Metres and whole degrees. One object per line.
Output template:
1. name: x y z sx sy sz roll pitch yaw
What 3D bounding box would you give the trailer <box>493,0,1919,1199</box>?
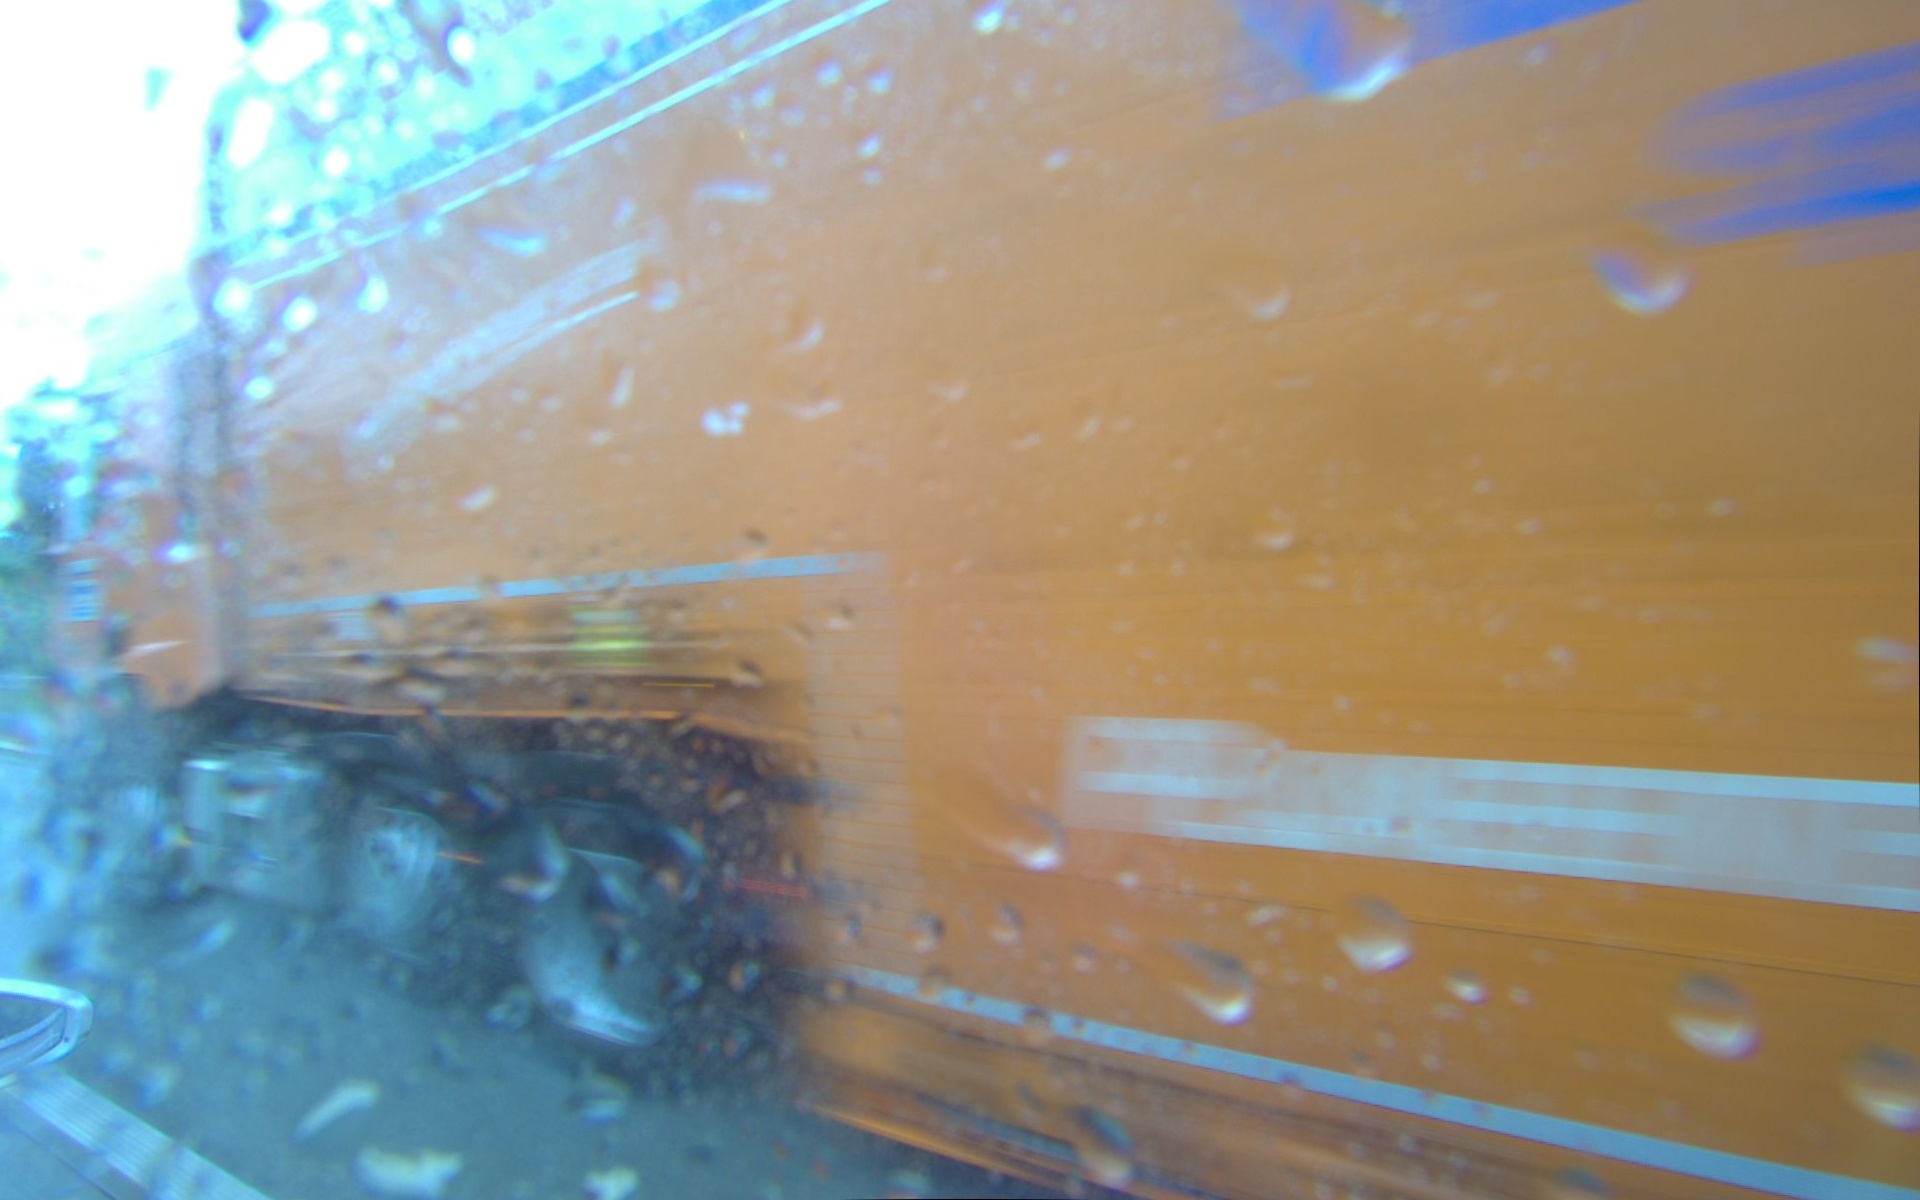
1. trailer: 4.675 -0.596 0.886 12.820 4.210 2.789 -1 -1 32

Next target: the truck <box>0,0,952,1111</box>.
1. truck: -3.040 -0.379 5.785 5.360 4.141 2.754 -1 -1 32
